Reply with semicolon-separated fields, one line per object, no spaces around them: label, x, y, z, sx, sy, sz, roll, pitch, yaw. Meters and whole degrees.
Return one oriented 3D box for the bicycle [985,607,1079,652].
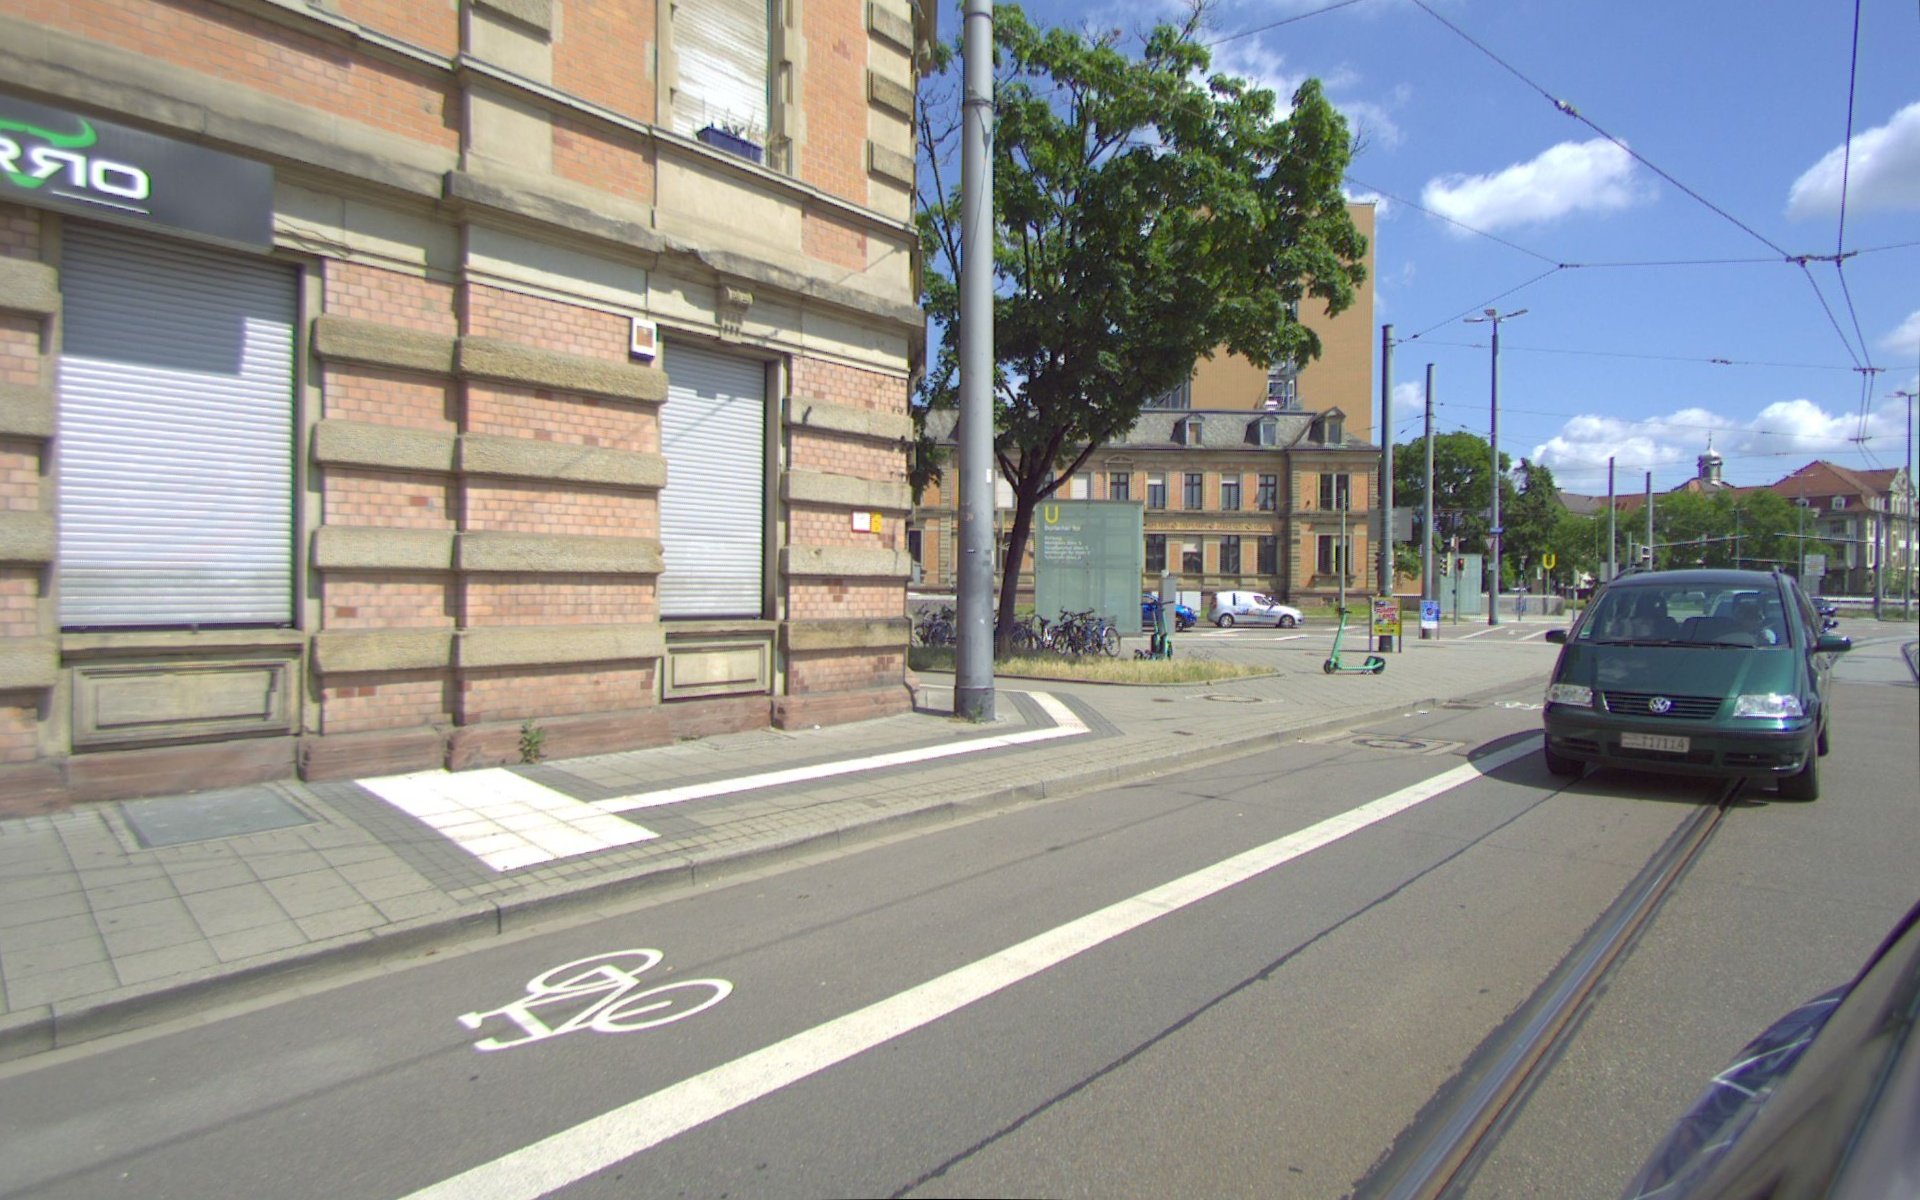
bicycle;1.646;0.648;22.885;2.250;0.890;0.842;-1;2;-44

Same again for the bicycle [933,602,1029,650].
bicycle;0.542;0.612;24.774;2.532;1.067;0.792;-1;2;-45

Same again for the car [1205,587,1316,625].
car;13.096;0.238;44.331;4.348;1.607;1.872;0;0;5

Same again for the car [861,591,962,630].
car;-1.994;0.413;42.343;3.927;1.585;1.935;0;0;7

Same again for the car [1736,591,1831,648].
car;23.781;0.496;29.367;1.863;1.504;4.370;0;0;36

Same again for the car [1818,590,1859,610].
car;65.600;0.000;75.625;1.659;1.393;3.871;0;0;32

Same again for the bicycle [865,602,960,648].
bicycle;-1.170;0.605;25.535;2.532;1.067;0.792;-1;2;-45

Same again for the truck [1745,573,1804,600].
truck;95.954;-1.596;119.386;3.321;3.036;8.661;0;0;24

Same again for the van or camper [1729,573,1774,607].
van or camper;65.970;-0.839;84.395;2.215;2.770;5.462;0;0;30

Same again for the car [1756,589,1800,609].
car;61.429;-0.109;76.063;1.886;1.482;4.215;0;0;30

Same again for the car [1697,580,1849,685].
car;14.520;0.513;18.066;1.865;1.637;4.363;-3;-1;40

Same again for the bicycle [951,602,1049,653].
bicycle;0.975;0.618;23.963;2.532;1.083;0.792;-1;2;-45

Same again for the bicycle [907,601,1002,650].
bicycle;-0.109;0.618;25.313;2.532;1.104;0.792;-1;2;-45

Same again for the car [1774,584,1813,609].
car;68.348;-0.305;83.002;1.801;2.039;3.958;1;1;30

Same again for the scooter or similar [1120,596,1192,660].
scooter or similar;3.993;0.542;20.603;0.945;1.218;1.372;1;1;36

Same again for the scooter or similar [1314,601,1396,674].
scooter or similar;6.974;0.636;17.870;1.067;1.194;0.949;-1;1;-40

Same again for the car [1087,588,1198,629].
car;7.441;0.346;41.717;4.350;1.570;1.872;0;2;6

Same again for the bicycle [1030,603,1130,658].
bicycle;2.678;0.647;22.378;2.226;1.095;1.025;-1;2;-44

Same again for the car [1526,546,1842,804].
car;6.529;0.496;8.935;1.813;1.739;4.023;-2;-1;42
